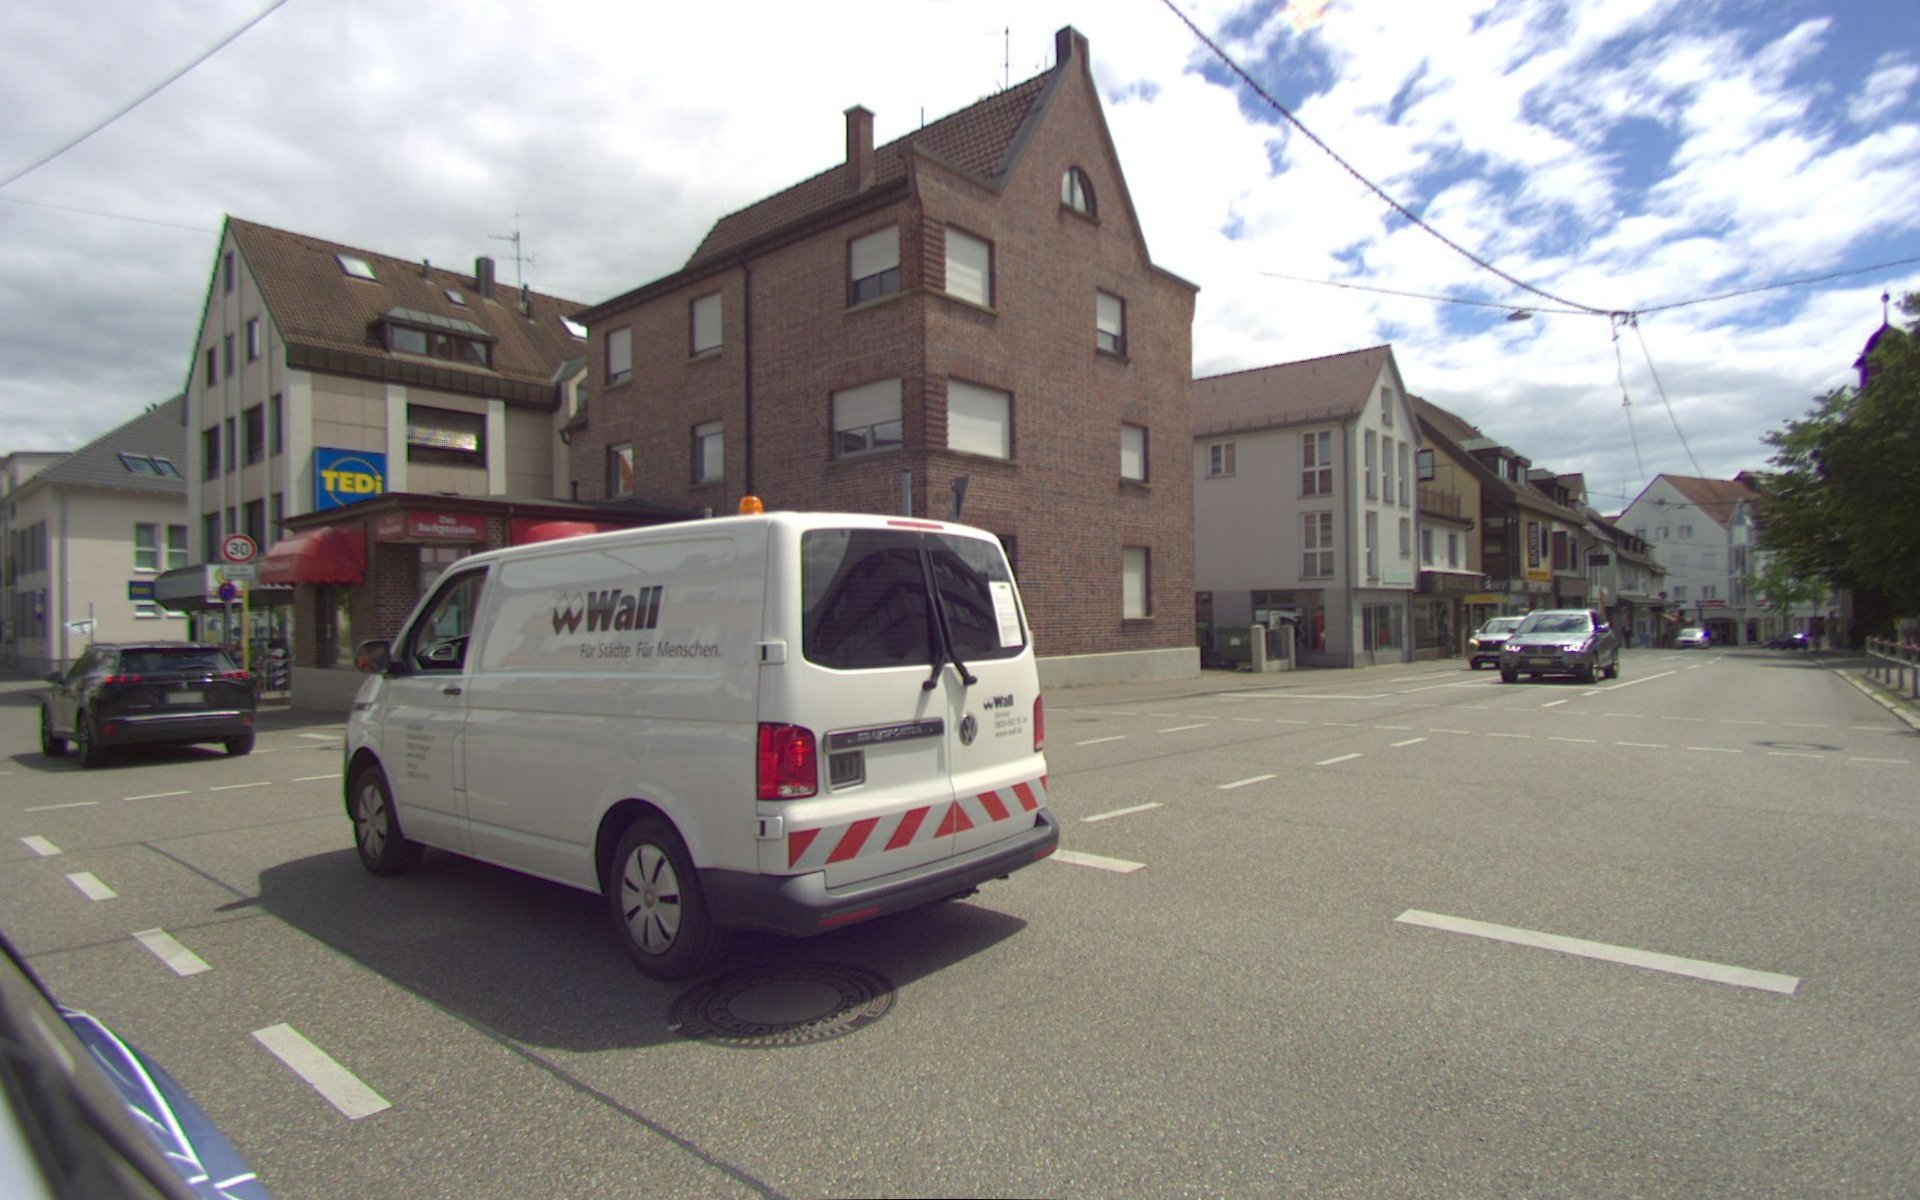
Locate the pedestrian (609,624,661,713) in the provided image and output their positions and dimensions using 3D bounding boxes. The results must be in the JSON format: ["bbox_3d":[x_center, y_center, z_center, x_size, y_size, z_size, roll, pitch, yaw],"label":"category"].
[{"bbox_3d":[-5.658,1.169,17.636,0.760,1.496,0.519,-1,0,38],"label":"pedestrian"}]

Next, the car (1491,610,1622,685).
[{"bbox_3d":[13.902,1.067,23.509,1.920,1.586,3.945,-3,-3,41],"label":"car"}]

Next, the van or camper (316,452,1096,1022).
[{"bbox_3d":[-1.749,0.561,5.648,4.689,1.912,1.845,-4,-2,41],"label":"van or camper"}]

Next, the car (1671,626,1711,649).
[{"bbox_3d":[52.658,2.678,72.897,1.920,1.586,4.270,-3,-3,41],"label":"car"}]

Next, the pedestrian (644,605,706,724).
[{"bbox_3d":[-4.487,0.995,15.925,0.719,1.810,0.619,-1,0,38],"label":"pedestrian"}]

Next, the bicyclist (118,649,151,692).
[{"bbox_3d":[-27.394,2.321,33.596,0.761,1.347,0.660,-1,2,40],"label":"bicyclist"}]

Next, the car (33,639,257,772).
[{"bbox_3d":[-11.060,1.305,13.649,3.965,1.508,1.665,-2,-2,41],"label":"car"}]

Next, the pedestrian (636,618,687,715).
[{"bbox_3d":[-5.342,1.165,18.108,0.760,1.671,0.519,-1,0,38],"label":"pedestrian"}]

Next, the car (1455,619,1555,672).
[{"bbox_3d":[17.497,1.431,32.388,1.920,1.586,4.270,-3,-3,41],"label":"car"}]

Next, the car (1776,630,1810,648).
[{"bbox_3d":[70.604,3.295,85.801,1.479,1.490,3.170,-2,-3,26],"label":"car"}]

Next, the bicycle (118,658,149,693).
[{"bbox_3d":[-27.425,2.503,33.586,1.733,1.058,0.439,-1,3,40],"label":"bicycle"}]
